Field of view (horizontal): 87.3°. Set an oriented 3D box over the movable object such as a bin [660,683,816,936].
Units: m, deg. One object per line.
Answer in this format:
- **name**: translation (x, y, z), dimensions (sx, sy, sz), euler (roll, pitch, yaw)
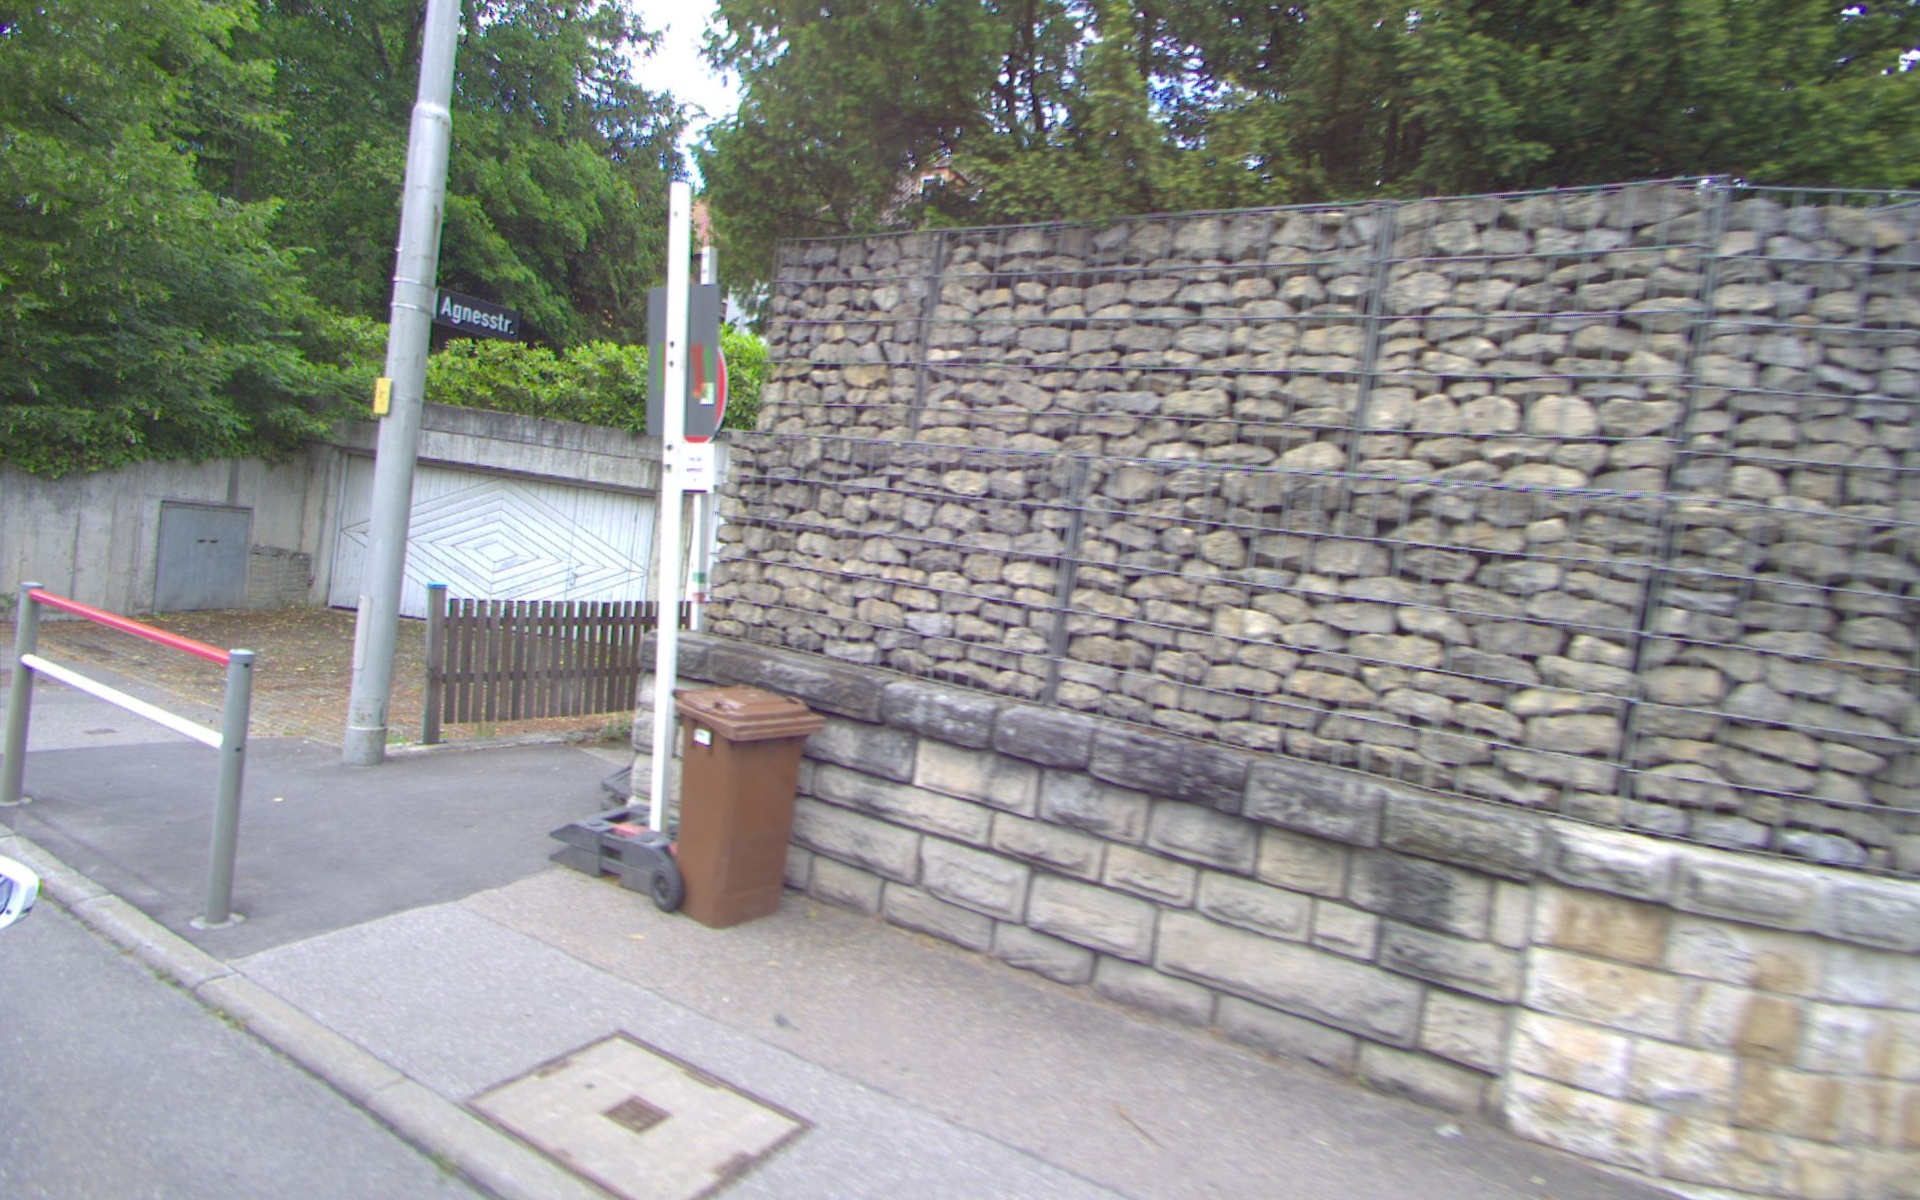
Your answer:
- **movable object such as a bin**: translation (-0.928, 0.840, 4.199), dimensions (0.388, 0.922, 0.444), euler (8, 5, 40)
